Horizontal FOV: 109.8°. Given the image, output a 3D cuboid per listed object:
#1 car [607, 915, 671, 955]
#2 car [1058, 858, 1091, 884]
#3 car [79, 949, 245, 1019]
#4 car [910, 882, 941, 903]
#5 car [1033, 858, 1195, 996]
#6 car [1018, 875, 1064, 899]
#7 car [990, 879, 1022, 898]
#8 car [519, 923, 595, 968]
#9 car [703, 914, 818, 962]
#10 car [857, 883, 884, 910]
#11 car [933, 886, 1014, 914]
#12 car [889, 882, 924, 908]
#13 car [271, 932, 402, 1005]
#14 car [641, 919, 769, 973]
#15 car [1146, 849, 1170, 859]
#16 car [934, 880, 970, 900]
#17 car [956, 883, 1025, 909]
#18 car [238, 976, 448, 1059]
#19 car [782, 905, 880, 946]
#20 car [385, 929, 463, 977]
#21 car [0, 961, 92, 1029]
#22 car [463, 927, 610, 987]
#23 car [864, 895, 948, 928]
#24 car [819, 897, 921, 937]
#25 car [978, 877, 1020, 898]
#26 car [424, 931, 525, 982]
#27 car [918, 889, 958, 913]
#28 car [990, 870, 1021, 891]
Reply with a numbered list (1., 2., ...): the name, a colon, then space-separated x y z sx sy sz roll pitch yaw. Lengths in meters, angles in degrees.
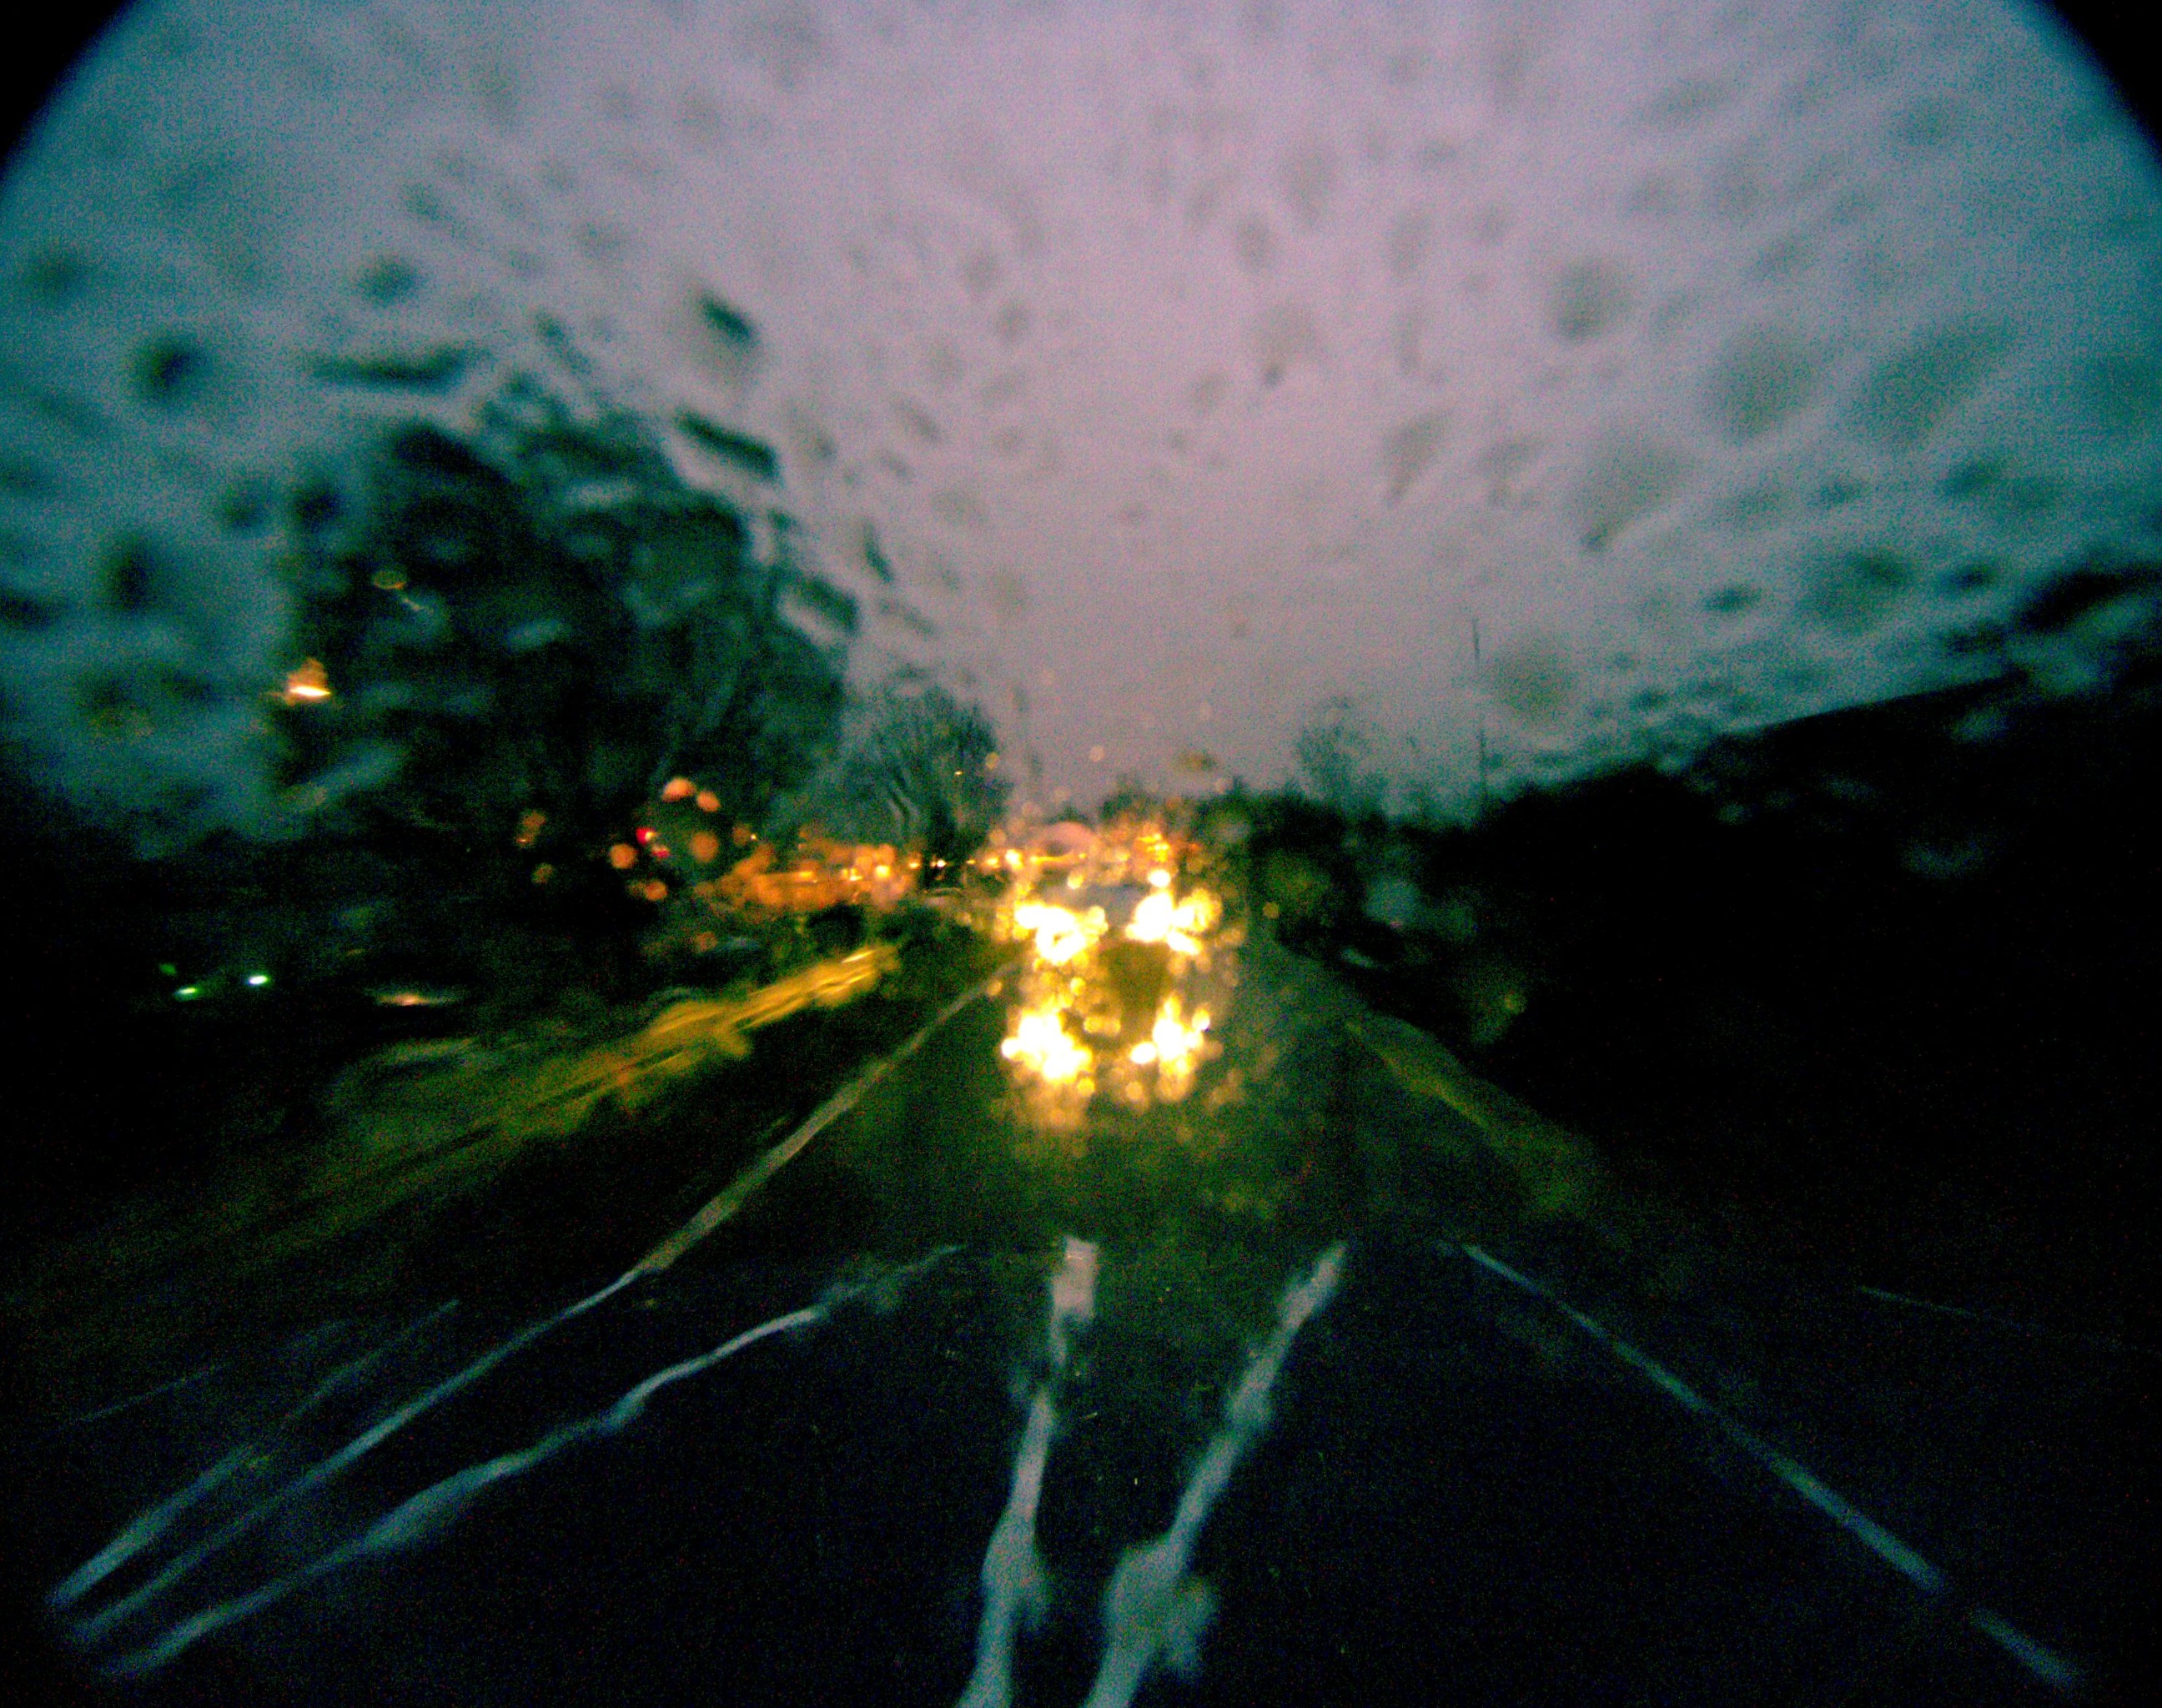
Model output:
1. car: -21.007 3.801 36.260 1.747 1.417 4.309 -3 0 -19
2. car: -0.716 1.753 80.400 2.282 2.426 5.233 -2 1 -13
3. car: -30.470 4.247 25.385 1.624 1.598 3.833 -3 0 -17
4. car: -12.892 3.165 62.888 1.729 1.493 4.019 -3 0 -22
5. car: 0.460 0.881 11.125 1.809 1.452 4.246 -5 0 2
6. car: -2.886 2.397 55.334 1.769 1.421 3.817 -2 1 24
7. car: -6.712 3.029 67.797 1.722 1.508 3.251 -4 0 -27
8. car: -22.348 3.860 32.558 1.570 1.421 3.756 -3 0 -17
9. car: -12.578 3.262 30.014 4.004 1.412 1.629 -3 1 -21
10. car: -14.266 2.874 51.625 1.600 1.576 3.628 -3 0 -14
11. car: -6.643 2.805 46.826 4.707 1.389 1.902 -2 1 -15
12. car: -12.479 2.886 54.130 1.807 1.526 4.536 -3 0 -20
13. car: -25.594 3.859 26.308 1.725 1.858 4.028 -3 0 -21
14. car: -13.629 3.302 27.817 4.004 1.431 1.794 -3 1 -21
15. car: 14.236 -0.016 140.145 4.004 1.588 1.809 -2 1 23
16. car: -11.304 3.134 66.382 1.804 1.586 3.971 -3 0 -29
17. car: -5.935 2.726 49.550 4.182 1.389 1.849 -2 1 -15
18. car: -17.241 3.787 17.936 3.213 1.305 1.388 -3 1 -23
19. car: -11.131 3.142 33.902 4.004 1.412 1.629 -3 1 -21
20. car: -27.446 4.095 31.863 1.571 1.476 3.753 -3 0 -27
21. car: -32.558 4.337 22.863 1.570 1.603 3.832 -3 0 -21
22. car: -20.076 3.746 28.199 1.719 1.592 4.042 -2 0 24
23. car: -9.329 3.032 40.496 4.183 1.389 1.901 -2 1 -17
24. car: -10.277 3.023 37.094 4.590 1.447 1.928 -3 1 -17
25. car: -6.895 2.775 63.555 3.259 1.526 1.390 -4 0 -14
26. car: -23.898 3.995 30.108 1.569 1.421 3.757 -3 0 -13
27. car: -10.968 3.522 58.047 1.828 1.629 4.462 -3 -1 -25
28. car: -7.553 2.616 75.900 1.889 1.946 4.953 -4 0 -19
